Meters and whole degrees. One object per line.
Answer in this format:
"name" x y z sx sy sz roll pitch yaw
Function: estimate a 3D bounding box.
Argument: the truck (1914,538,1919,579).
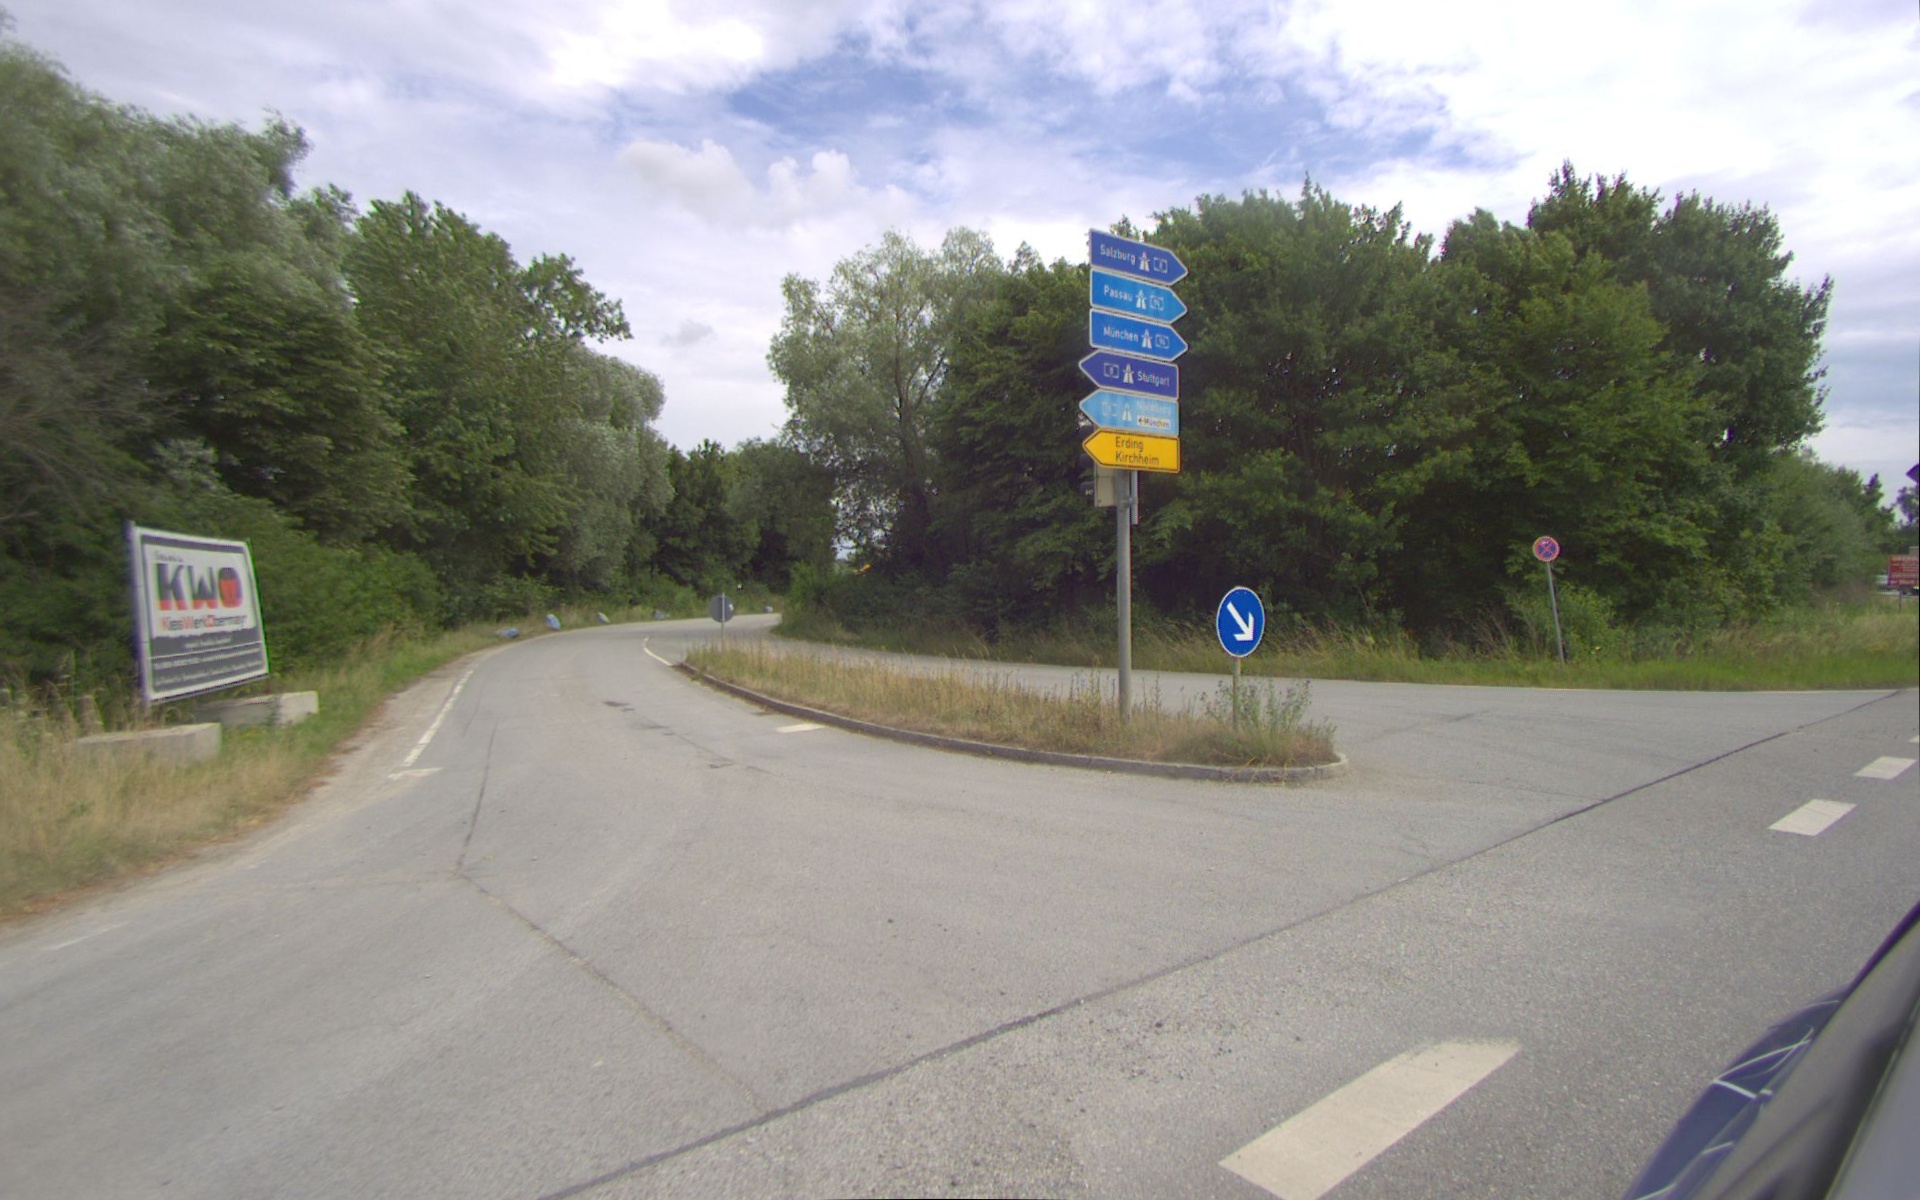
"truck" 97.726 -4.230 100.873 2.520 4.147 3.968 -1 1 24
